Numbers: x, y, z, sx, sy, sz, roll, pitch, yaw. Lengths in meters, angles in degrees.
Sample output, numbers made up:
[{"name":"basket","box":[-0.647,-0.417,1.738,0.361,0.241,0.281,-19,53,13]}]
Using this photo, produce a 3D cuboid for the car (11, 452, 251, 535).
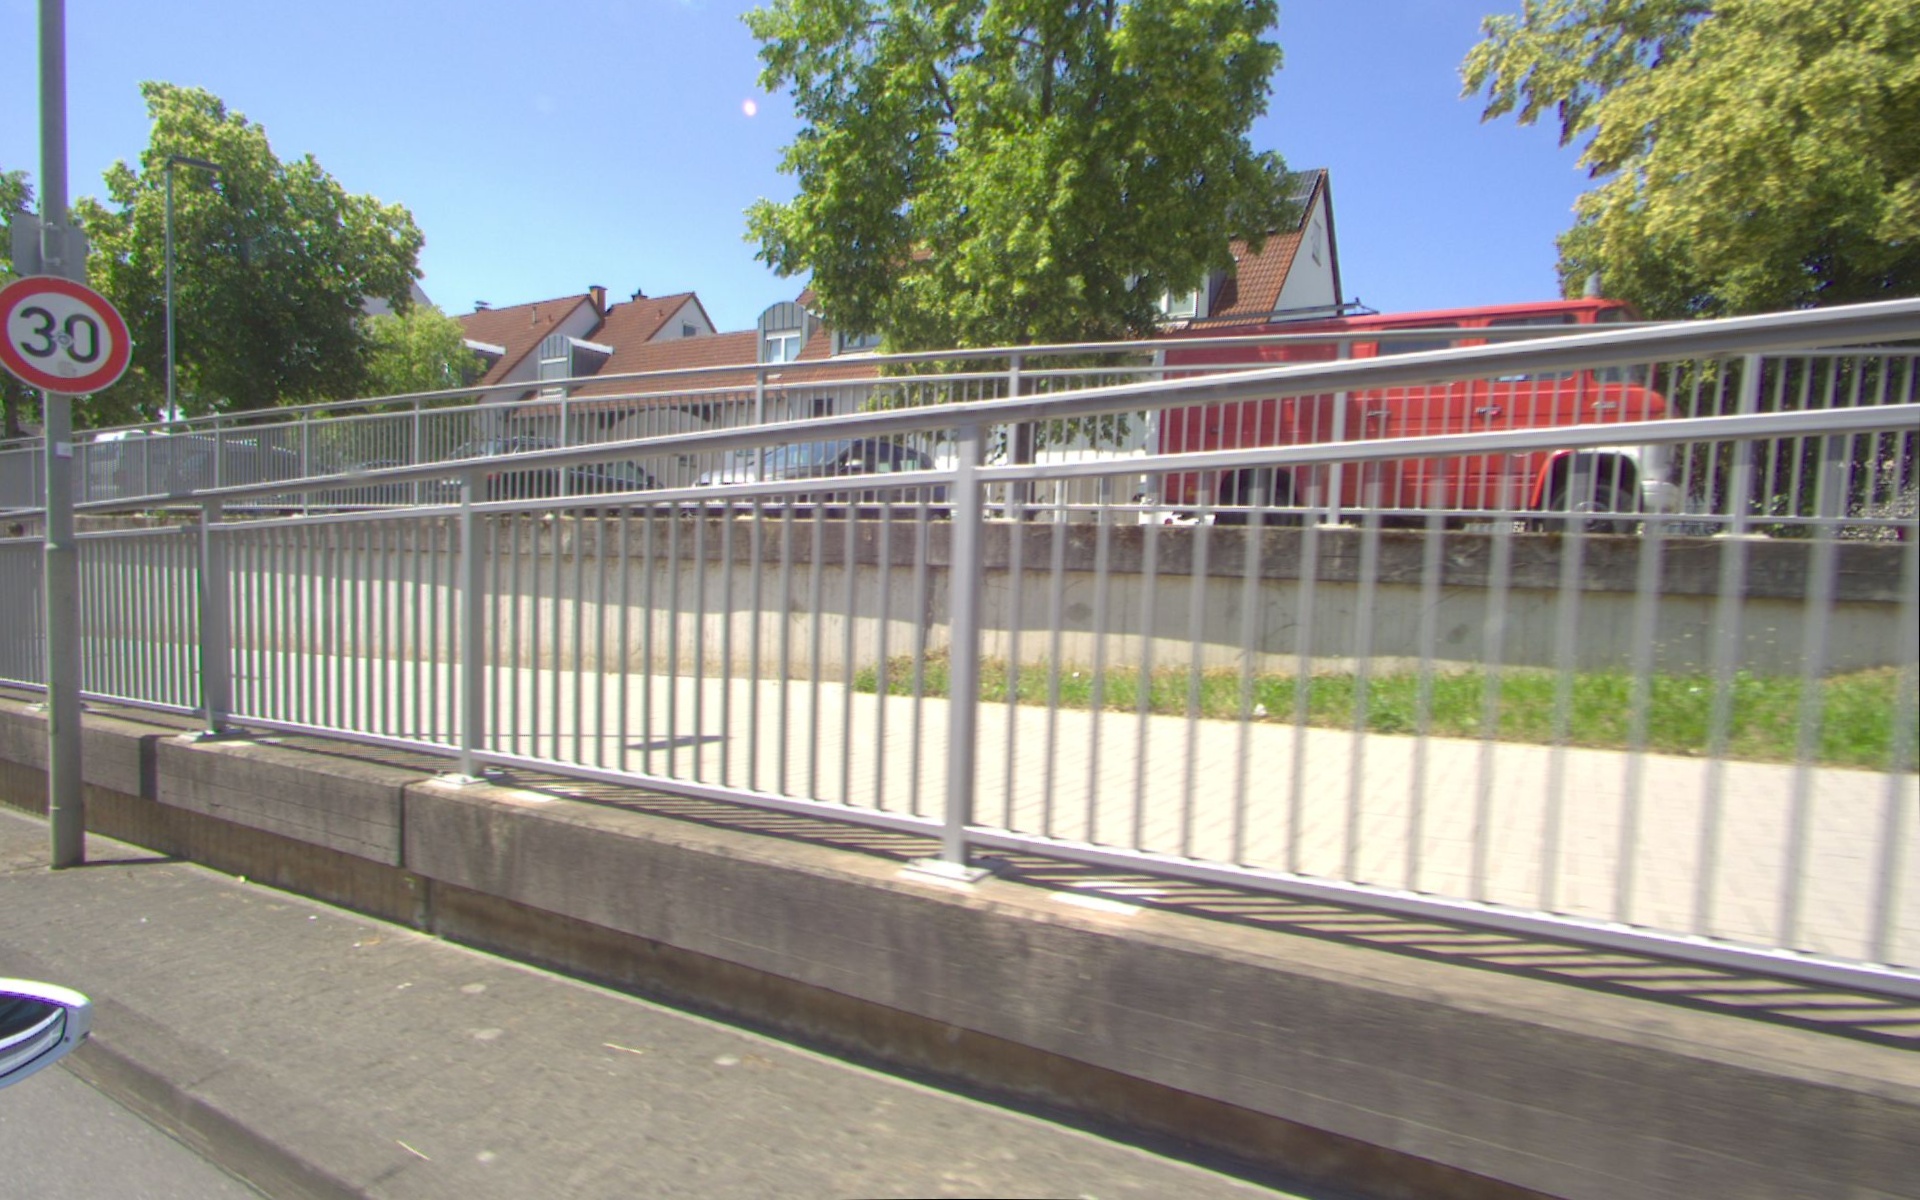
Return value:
[{"name":"car","box":[-19.878,-2.482,24.205,1.662,1.618,4.194,3,2,33]}]

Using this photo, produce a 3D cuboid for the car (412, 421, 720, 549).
[{"name":"car","box":[-5.831,-1.628,15.313,1.662,1.519,4.194,3,2,33]}]

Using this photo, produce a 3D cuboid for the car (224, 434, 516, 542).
[{"name":"car","box":[-10.527,-1.925,18.188,1.723,1.519,4.275,3,2,33]}]

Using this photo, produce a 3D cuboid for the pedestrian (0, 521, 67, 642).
[{"name":"pedestrian","box":[-14.501,-0.278,15.480,0.777,1.806,0.834,1,1,33]}]

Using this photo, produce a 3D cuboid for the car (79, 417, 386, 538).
[{"name":"car","box":[-15.721,-2.526,21.963,1.960,2.092,5.099,3,2,33]}]

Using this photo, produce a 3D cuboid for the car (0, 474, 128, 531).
[{"name":"car","box":[-25.987,-2.730,27.987,1.662,1.386,3.896,3,2,33]}]

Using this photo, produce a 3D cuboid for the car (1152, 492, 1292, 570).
[{"name":"car","box":[5.657,-1.429,21.321,1.732,1.499,3.926,3,4,32]}]

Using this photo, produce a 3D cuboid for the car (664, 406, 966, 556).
[{"name":"car","box":[-1.731,-1.414,13.161,1.723,1.519,3.977,3,2,33]}]

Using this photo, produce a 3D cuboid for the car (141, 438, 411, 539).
[{"name":"car","box":[-13.619,-2.148,20.201,1.662,1.618,4.194,3,2,33]}]

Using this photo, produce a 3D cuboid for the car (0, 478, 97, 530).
[{"name":"car","box":[-28.012,-2.842,29.283,1.662,1.386,3.896,3,2,33]}]

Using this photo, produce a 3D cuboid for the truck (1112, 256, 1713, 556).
[{"name":"truck","box":[4.458,-1.740,10.497,5.181,2.366,2.128,3,2,32]}]

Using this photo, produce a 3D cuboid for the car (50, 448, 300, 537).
[{"name":"car","box":[-17.724,-2.356,22.812,1.662,1.618,4.194,3,2,33]}]

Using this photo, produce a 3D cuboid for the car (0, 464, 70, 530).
[{"name":"car","box":[-30.009,-3.210,30.608,1.662,1.911,3.896,3,2,33]}]
